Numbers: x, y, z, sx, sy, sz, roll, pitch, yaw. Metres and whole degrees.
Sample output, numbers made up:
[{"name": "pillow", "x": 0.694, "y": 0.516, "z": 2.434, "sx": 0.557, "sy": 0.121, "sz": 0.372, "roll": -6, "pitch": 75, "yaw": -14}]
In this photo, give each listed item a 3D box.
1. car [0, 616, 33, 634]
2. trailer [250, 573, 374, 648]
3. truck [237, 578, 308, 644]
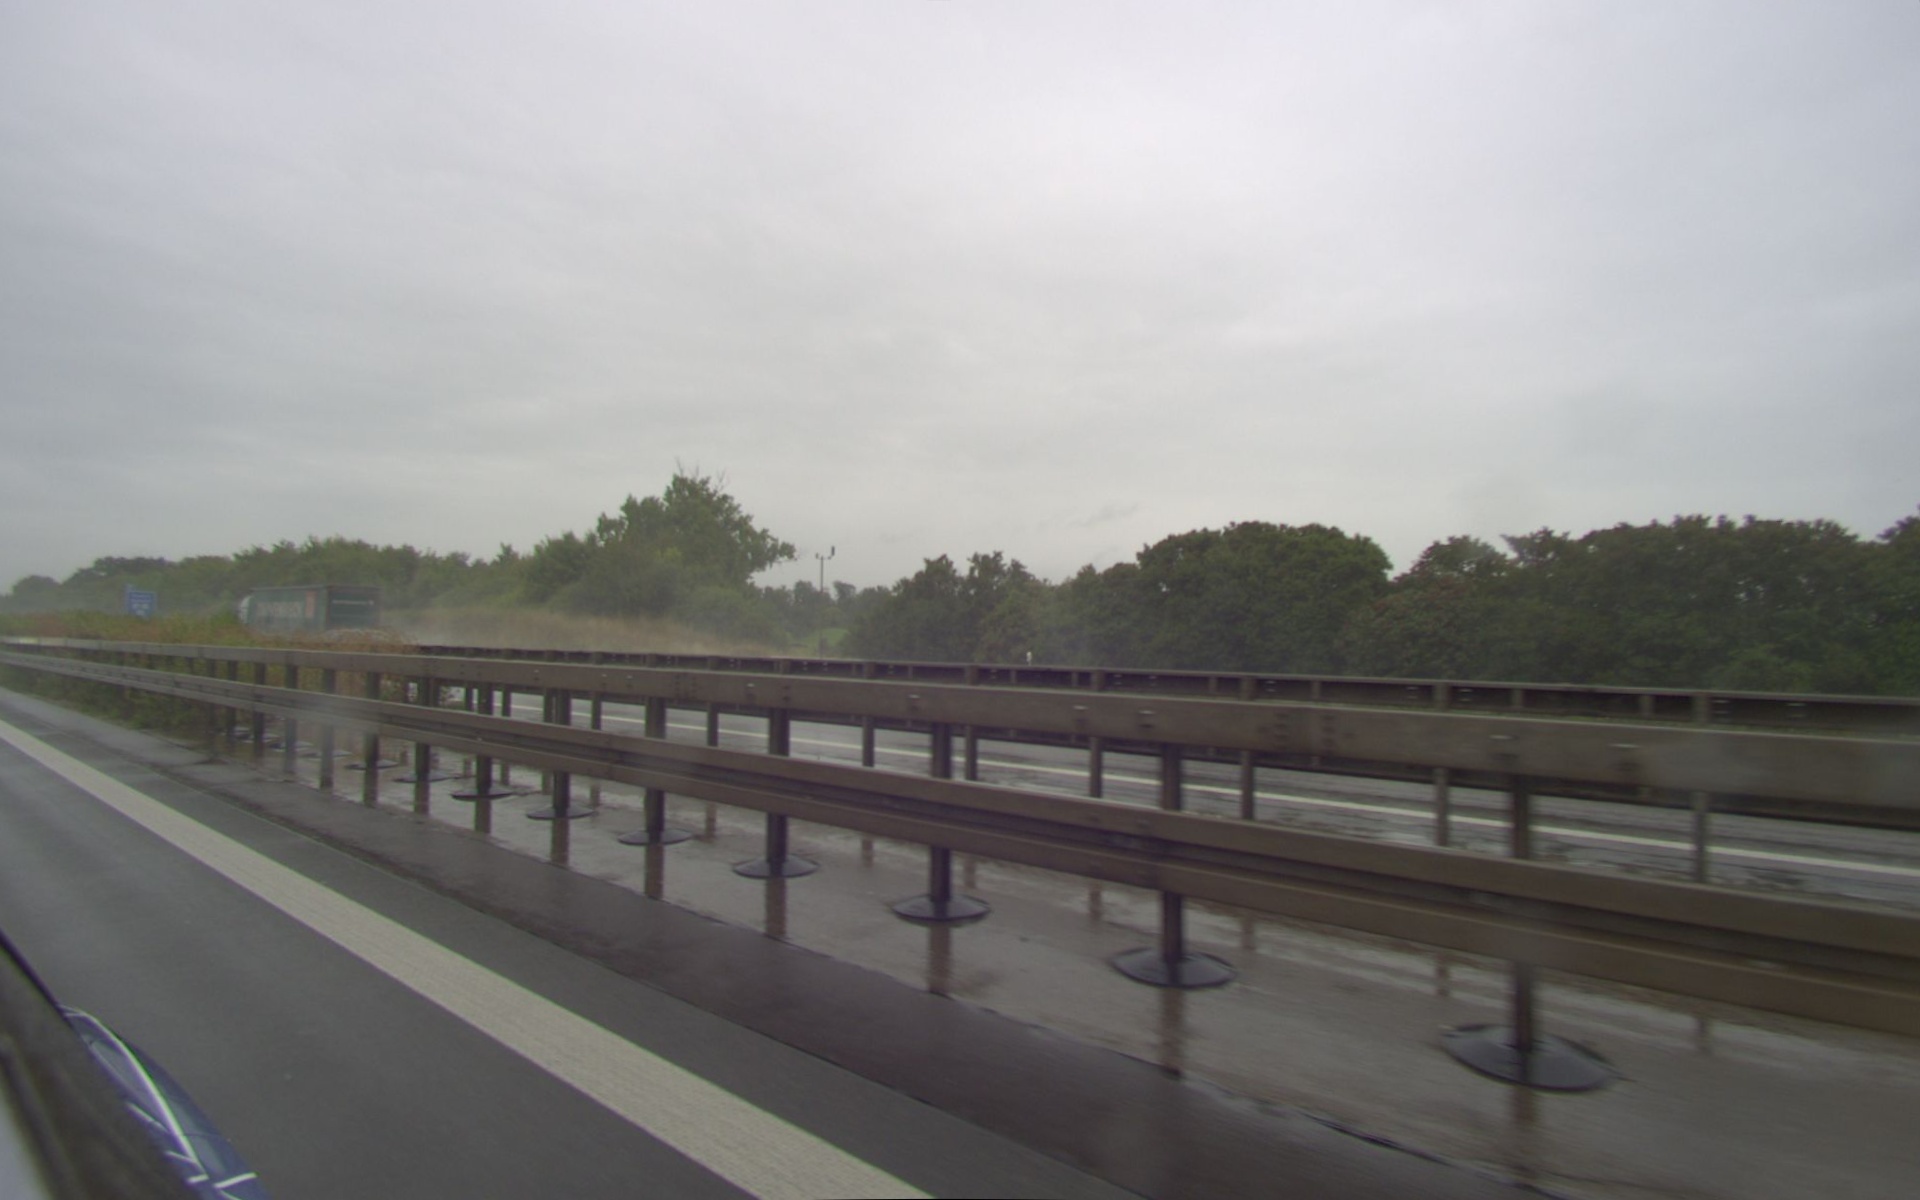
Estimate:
[{"name": "car", "x": -133.578, "y": 3.540, "z": 143.243, "sx": 5.834, "sy": 2.407, "sz": 3.038, "roll": -1, "pitch": -1, "yaw": 42}, {"name": "trailer", "x": -36.639, "y": 0.633, "z": 56.877, "sx": 13.605, "sy": 3.833, "sz": 2.271, "roll": -1, "pitch": -1, "yaw": 42}, {"name": "truck", "x": -41.736, "y": 0.680, "z": 61.407, "sx": 5.397, "sy": 3.834, "sz": 2.293, "roll": -1, "pitch": -1, "yaw": 41}]
